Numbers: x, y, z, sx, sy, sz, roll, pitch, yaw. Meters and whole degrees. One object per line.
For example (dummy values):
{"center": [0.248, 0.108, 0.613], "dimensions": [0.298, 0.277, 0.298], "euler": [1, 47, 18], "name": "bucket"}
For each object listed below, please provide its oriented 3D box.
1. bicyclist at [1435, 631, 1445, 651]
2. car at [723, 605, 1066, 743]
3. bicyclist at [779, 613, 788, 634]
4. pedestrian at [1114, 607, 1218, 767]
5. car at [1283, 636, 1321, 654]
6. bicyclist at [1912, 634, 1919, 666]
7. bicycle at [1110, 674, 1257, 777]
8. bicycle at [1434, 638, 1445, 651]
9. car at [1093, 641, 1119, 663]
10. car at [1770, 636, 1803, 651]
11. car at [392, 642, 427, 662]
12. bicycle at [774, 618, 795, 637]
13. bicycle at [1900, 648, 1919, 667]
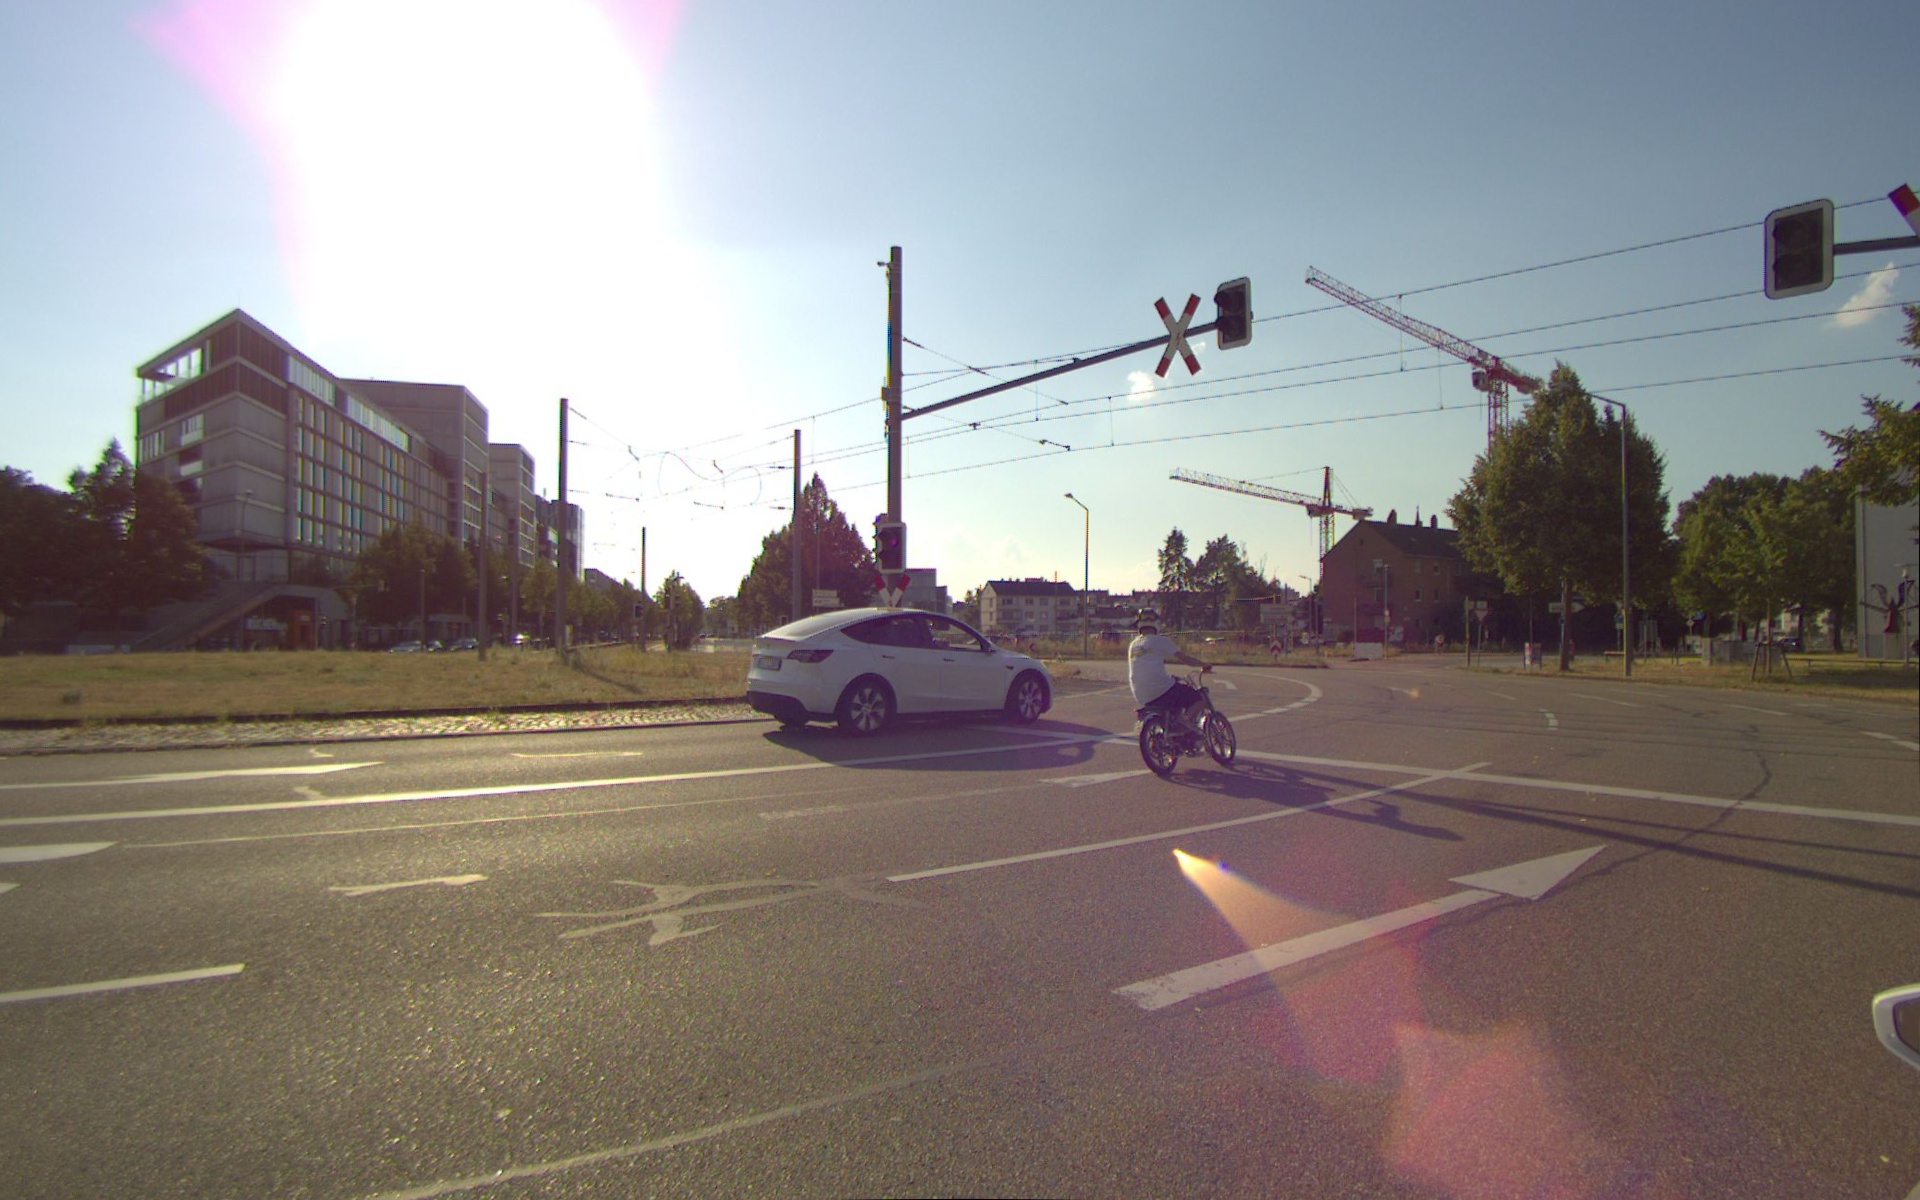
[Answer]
{"center": [37.923, 3.217, 79.410], "dimensions": [0.648, 1.582, 0.892], "euler": [-1, -2, 31], "name": "bicyclist"}
{"center": [-0.764, 0.931, 13.953], "dimensions": [4.639, 1.620, 1.720], "euler": [2, -1, -40], "name": "car"}
{"center": [-13.908, 1.866, 79.169], "dimensions": [0.596, 1.694, 0.478], "euler": [0, -2, 12], "name": "bicyclist"}
{"center": [2.093, 0.853, 10.203], "dimensions": [0.848, 1.539, 0.650], "euler": [1, -2, -42], "name": "pedestrian"}
{"center": [38.510, 5.077, 113.190], "dimensions": [1.658, 2.040, 3.778], "euler": [2, -3, -39], "name": "car"}
{"center": [42.667, 2.195, 44.276], "dimensions": [0.883, 1.415, 0.525], "euler": [-1, -1, 26], "name": "bicyclist"}
{"center": [2.325, 1.246, 10.296], "dimensions": [1.841, 0.887, 0.473], "euler": [1, -1, -41], "name": "bicycle"}
{"center": [37.805, 3.507, 79.235], "dimensions": [0.588, 0.976, 2.101], "euler": [-1, -2, 31], "name": "bicycle"}
{"center": [13.151, 4.656, 90.546], "dimensions": [1.887, 1.878, 4.002], "euler": [0, -2, 3], "name": "car"}
{"center": [84.719, 4.439, 102.958], "dimensions": [3.512, 1.461, 1.575], "euler": [1, -2, -31], "name": "car"}
{"center": [-43.131, 4.031, 78.725], "dimensions": [1.458, 1.495, 3.293], "euler": [0, -2, -12], "name": "car"}
{"center": [-13.819, 2.158, 79.155], "dimensions": [1.513, 1.493, 0.480], "euler": [-1, -2, 11], "name": "bicycle"}
{"center": [42.741, 2.522, 44.177], "dimensions": [1.957, 0.836, 0.429], "euler": [-1, -1, 26], "name": "bicycle"}
